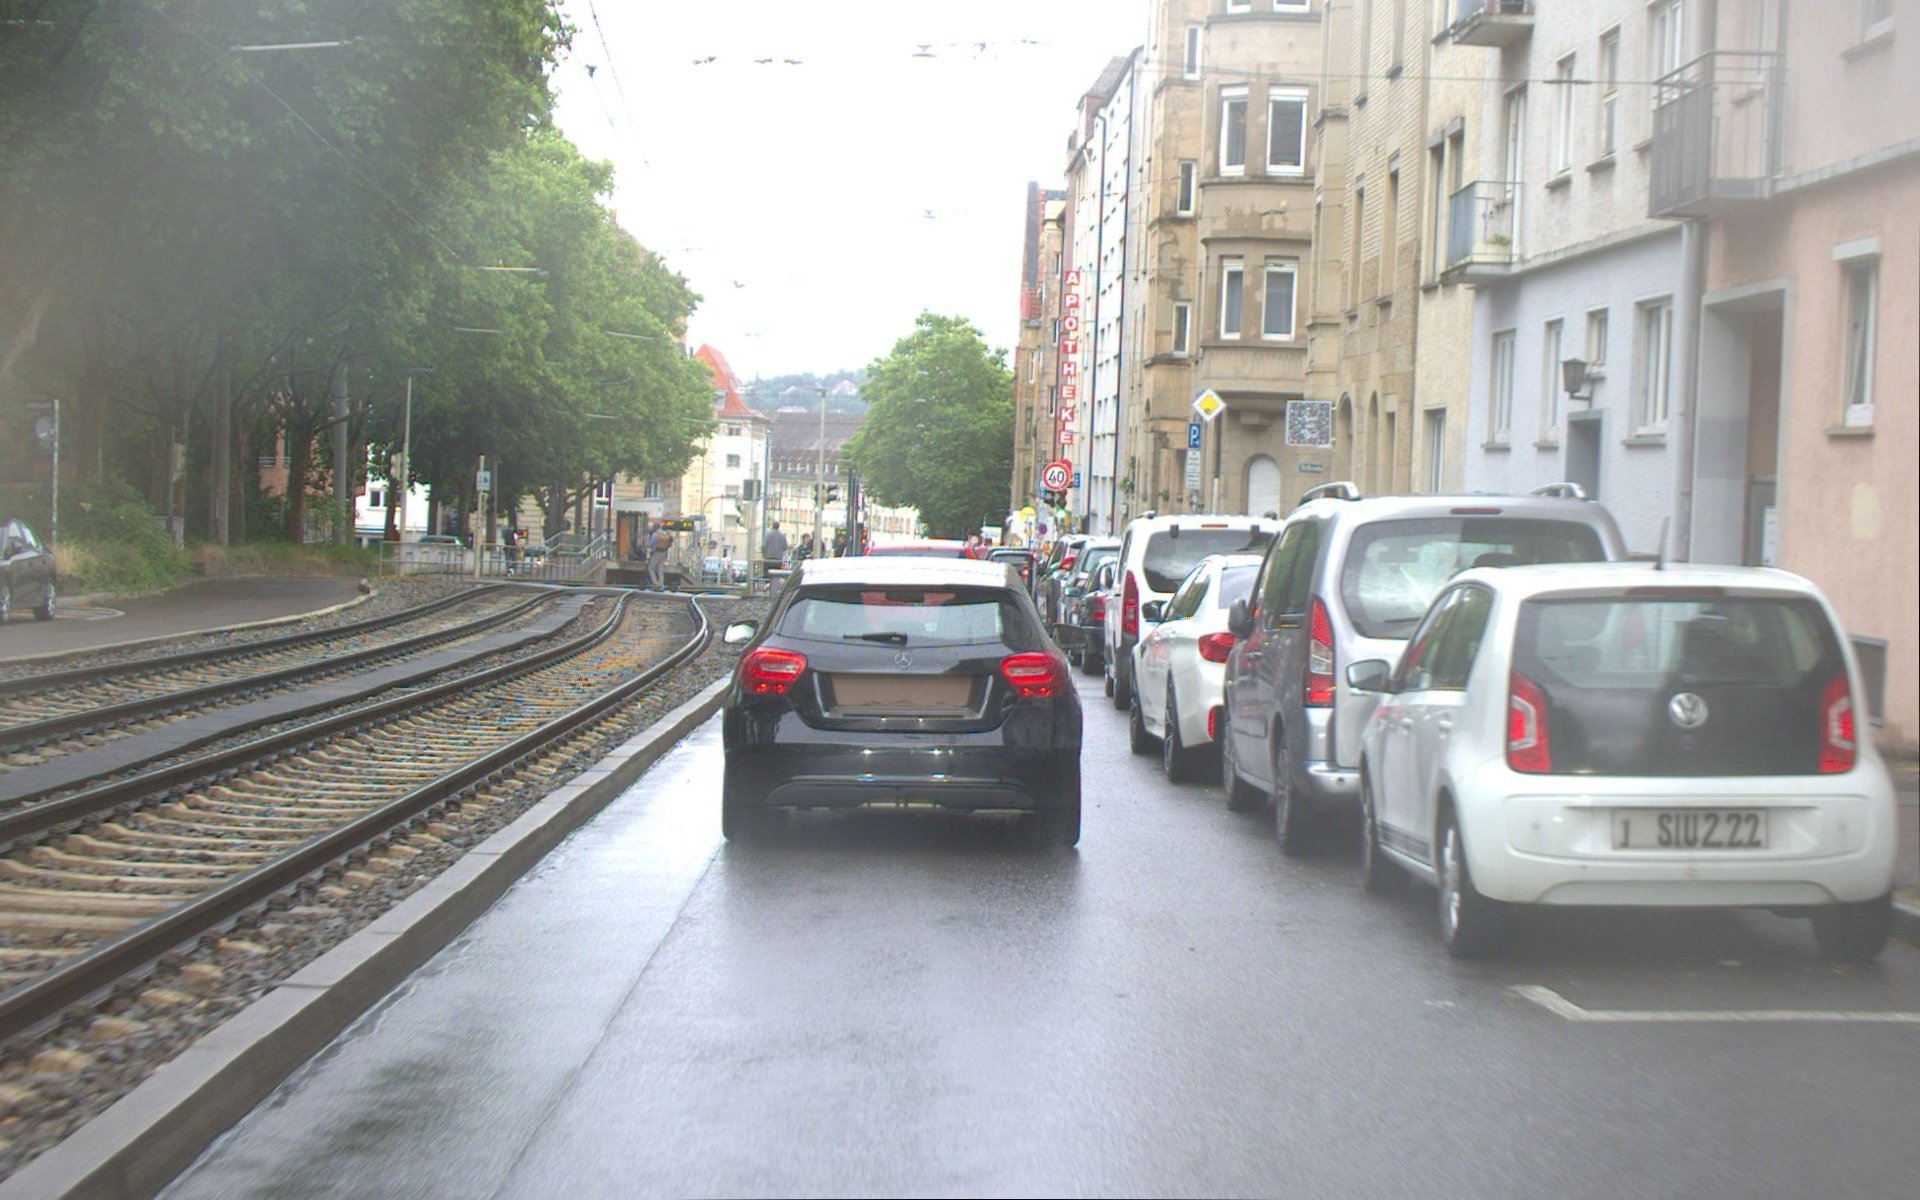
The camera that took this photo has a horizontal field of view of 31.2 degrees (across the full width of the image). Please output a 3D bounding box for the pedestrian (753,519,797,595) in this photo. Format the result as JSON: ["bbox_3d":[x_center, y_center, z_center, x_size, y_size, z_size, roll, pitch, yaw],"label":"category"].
[{"bbox_3d":[-4.873,-1.136,90.609,1.137,1.991,1.173,0,1,-4],"label":"pedestrian"}]

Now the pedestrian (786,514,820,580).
[{"bbox_3d":[-3.881,-1.311,84.976,0.806,1.628,0.892,0,1,0],"label":"pedestrian"}]

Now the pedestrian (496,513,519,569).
[{"bbox_3d":[-14.232,-1.855,108.159,0.534,1.748,0.607,3,1,0],"label":"pedestrian"}]

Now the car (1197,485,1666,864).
[{"bbox_3d":[2.347,0.311,18.157,1.790,1.759,4.212,0,1,-1],"label":"car"}]

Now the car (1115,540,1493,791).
[{"bbox_3d":[2.183,0.353,23.156,1.871,1.450,4.903,1,1,-2],"label":"car"}]

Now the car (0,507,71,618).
[{"bbox_3d":[-13.246,-0.538,46.245,1.614,1.424,3.853,1,1,-1],"label":"car"}]

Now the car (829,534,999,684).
[{"bbox_3d":[-0.514,0.064,38.846,1.785,1.575,4.000,1,1,-1],"label":"car"}]

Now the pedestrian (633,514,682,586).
[{"bbox_3d":[-7.409,-1.233,84.209,1.054,1.713,0.904,2,1,1],"label":"pedestrian"}]

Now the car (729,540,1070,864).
[{"bbox_3d":[-0.323,0.453,18.050,1.580,1.499,3.575,1,1,-1],"label":"car"}]

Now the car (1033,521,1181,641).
[{"bbox_3d":[2.170,-0.307,51.817,1.766,1.662,4.333,2,1,-3],"label":"car"}]

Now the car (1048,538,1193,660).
[{"bbox_3d":[2.105,-0.044,46.036,1.693,1.524,4.000,2,1,0],"label":"car"}]

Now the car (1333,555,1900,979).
[{"bbox_3d":[2.513,0.568,13.938,1.570,1.457,3.600,1,1,0],"label":"car"}]

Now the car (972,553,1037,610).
[{"bbox_3d":[1.281,-0.557,100.150,1.827,1.612,3.864,0,1,0],"label":"car"}]

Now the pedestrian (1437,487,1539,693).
[{"bbox_3d":[4.792,-0.096,31.242,0.746,1.827,1.039,-1,1,1],"label":"pedestrian"}]

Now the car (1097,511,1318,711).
[{"bbox_3d":[2.303,0.054,32.980,1.828,1.744,4.467,1,1,1],"label":"car"}]

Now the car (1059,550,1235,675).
[{"bbox_3d":[2.172,0.106,41.021,1.717,1.342,4.462,2,1,-1],"label":"car"}]
